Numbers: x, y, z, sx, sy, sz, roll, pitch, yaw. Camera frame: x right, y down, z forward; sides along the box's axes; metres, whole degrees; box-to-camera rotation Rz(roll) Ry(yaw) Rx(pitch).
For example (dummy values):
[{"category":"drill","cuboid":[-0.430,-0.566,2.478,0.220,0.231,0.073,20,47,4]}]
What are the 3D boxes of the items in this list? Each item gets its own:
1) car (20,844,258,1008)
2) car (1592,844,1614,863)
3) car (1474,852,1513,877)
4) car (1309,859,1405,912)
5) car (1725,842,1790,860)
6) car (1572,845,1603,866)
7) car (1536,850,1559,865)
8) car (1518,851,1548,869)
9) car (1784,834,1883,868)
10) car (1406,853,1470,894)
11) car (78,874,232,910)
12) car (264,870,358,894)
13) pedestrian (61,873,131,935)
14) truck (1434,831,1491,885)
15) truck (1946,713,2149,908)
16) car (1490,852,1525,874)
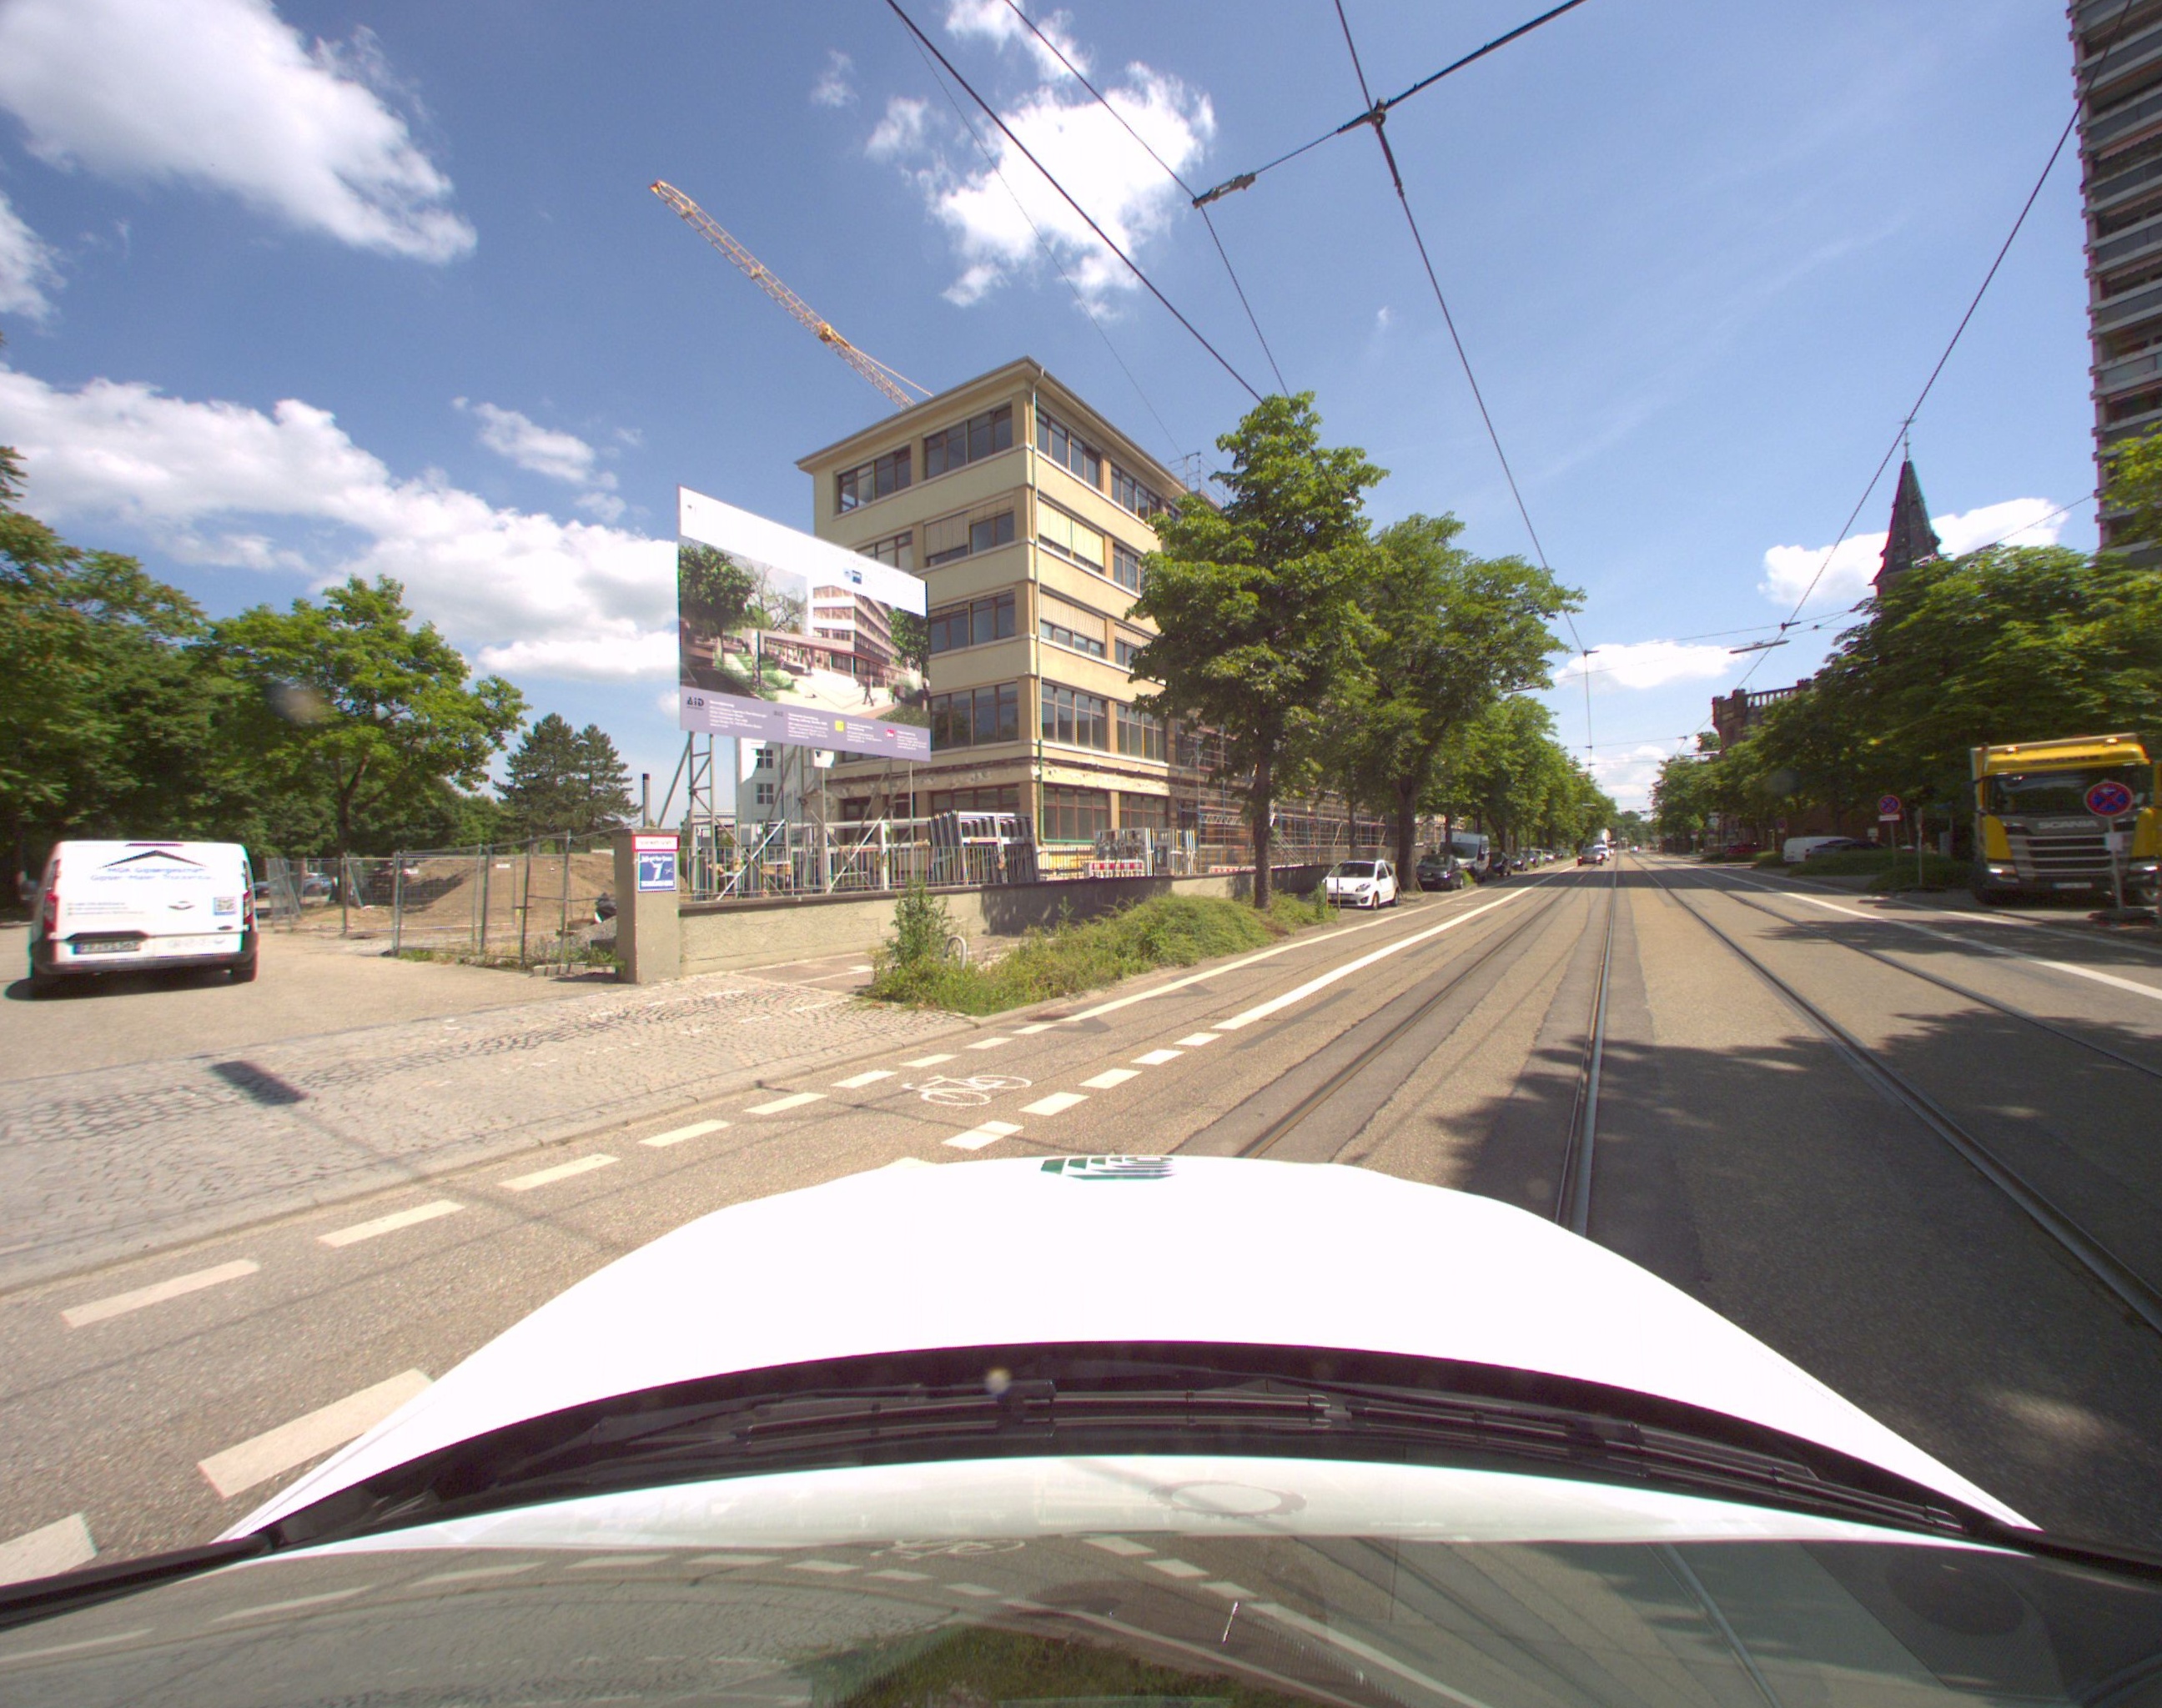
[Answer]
[{"category":"car","cuboid":[-13.710,0.889,11.835,4.522,1.947,1.992,-1,-1,39]},{"category":"car","cuboid":[59.268,-0.043,92.418,1.974,2.014,4.026,-1,0,34]},{"category":"car","cuboid":[24.912,0.606,49.134,1.974,1.456,4.025,-1,0,29]},{"category":"car","cuboid":[8.324,0.892,24.387,1.602,1.440,3.606,-1,0,38]},{"category":"car","cuboid":[60.260,-0.238,72.631,3.960,1.486,2.007,-1,0,12]},{"category":"car","cuboid":[42.762,0.090,68.690,1.974,1.689,4.026,-1,0,34]},{"category":"car","cuboid":[48.949,0.367,85.340,1.804,1.574,4.026,-1,0,34]},{"category":"car","cuboid":[39.593,0.500,71.320,1.974,1.486,4.365,-1,0,34]},{"category":"car","cuboid":[42.023,-0.172,45.505,3.979,1.794,1.832,-1,0,-4]},{"category":"car","cuboid":[15.202,0.792,34.568,1.974,1.607,4.025,-1,0,30]},{"category":"car","cuboid":[-45.237,1.863,39.951,4.532,1.609,1.981,-1,-3,-28]},{"category":"car","cuboid":[-54.866,1.964,58.128,4.532,1.598,1.919,-1,-1,-29]},{"category":"pedestrian","cuboid":[-27.863,1.382,23.063,1.043,1.650,1.037,0,0,-37]},{"category":"truck","cuboid":[19.294,0.186,41.027,2.000,2.485,5.909,-1,0,31]},{"category":"truck","cuboid":[24.576,-0.912,20.841,9.795,4.006,2.718,-1,-1,-40]},{"category":"car","cuboid":[30.346,0.625,57.930,1.974,1.486,4.025,-1,0,30]}]
